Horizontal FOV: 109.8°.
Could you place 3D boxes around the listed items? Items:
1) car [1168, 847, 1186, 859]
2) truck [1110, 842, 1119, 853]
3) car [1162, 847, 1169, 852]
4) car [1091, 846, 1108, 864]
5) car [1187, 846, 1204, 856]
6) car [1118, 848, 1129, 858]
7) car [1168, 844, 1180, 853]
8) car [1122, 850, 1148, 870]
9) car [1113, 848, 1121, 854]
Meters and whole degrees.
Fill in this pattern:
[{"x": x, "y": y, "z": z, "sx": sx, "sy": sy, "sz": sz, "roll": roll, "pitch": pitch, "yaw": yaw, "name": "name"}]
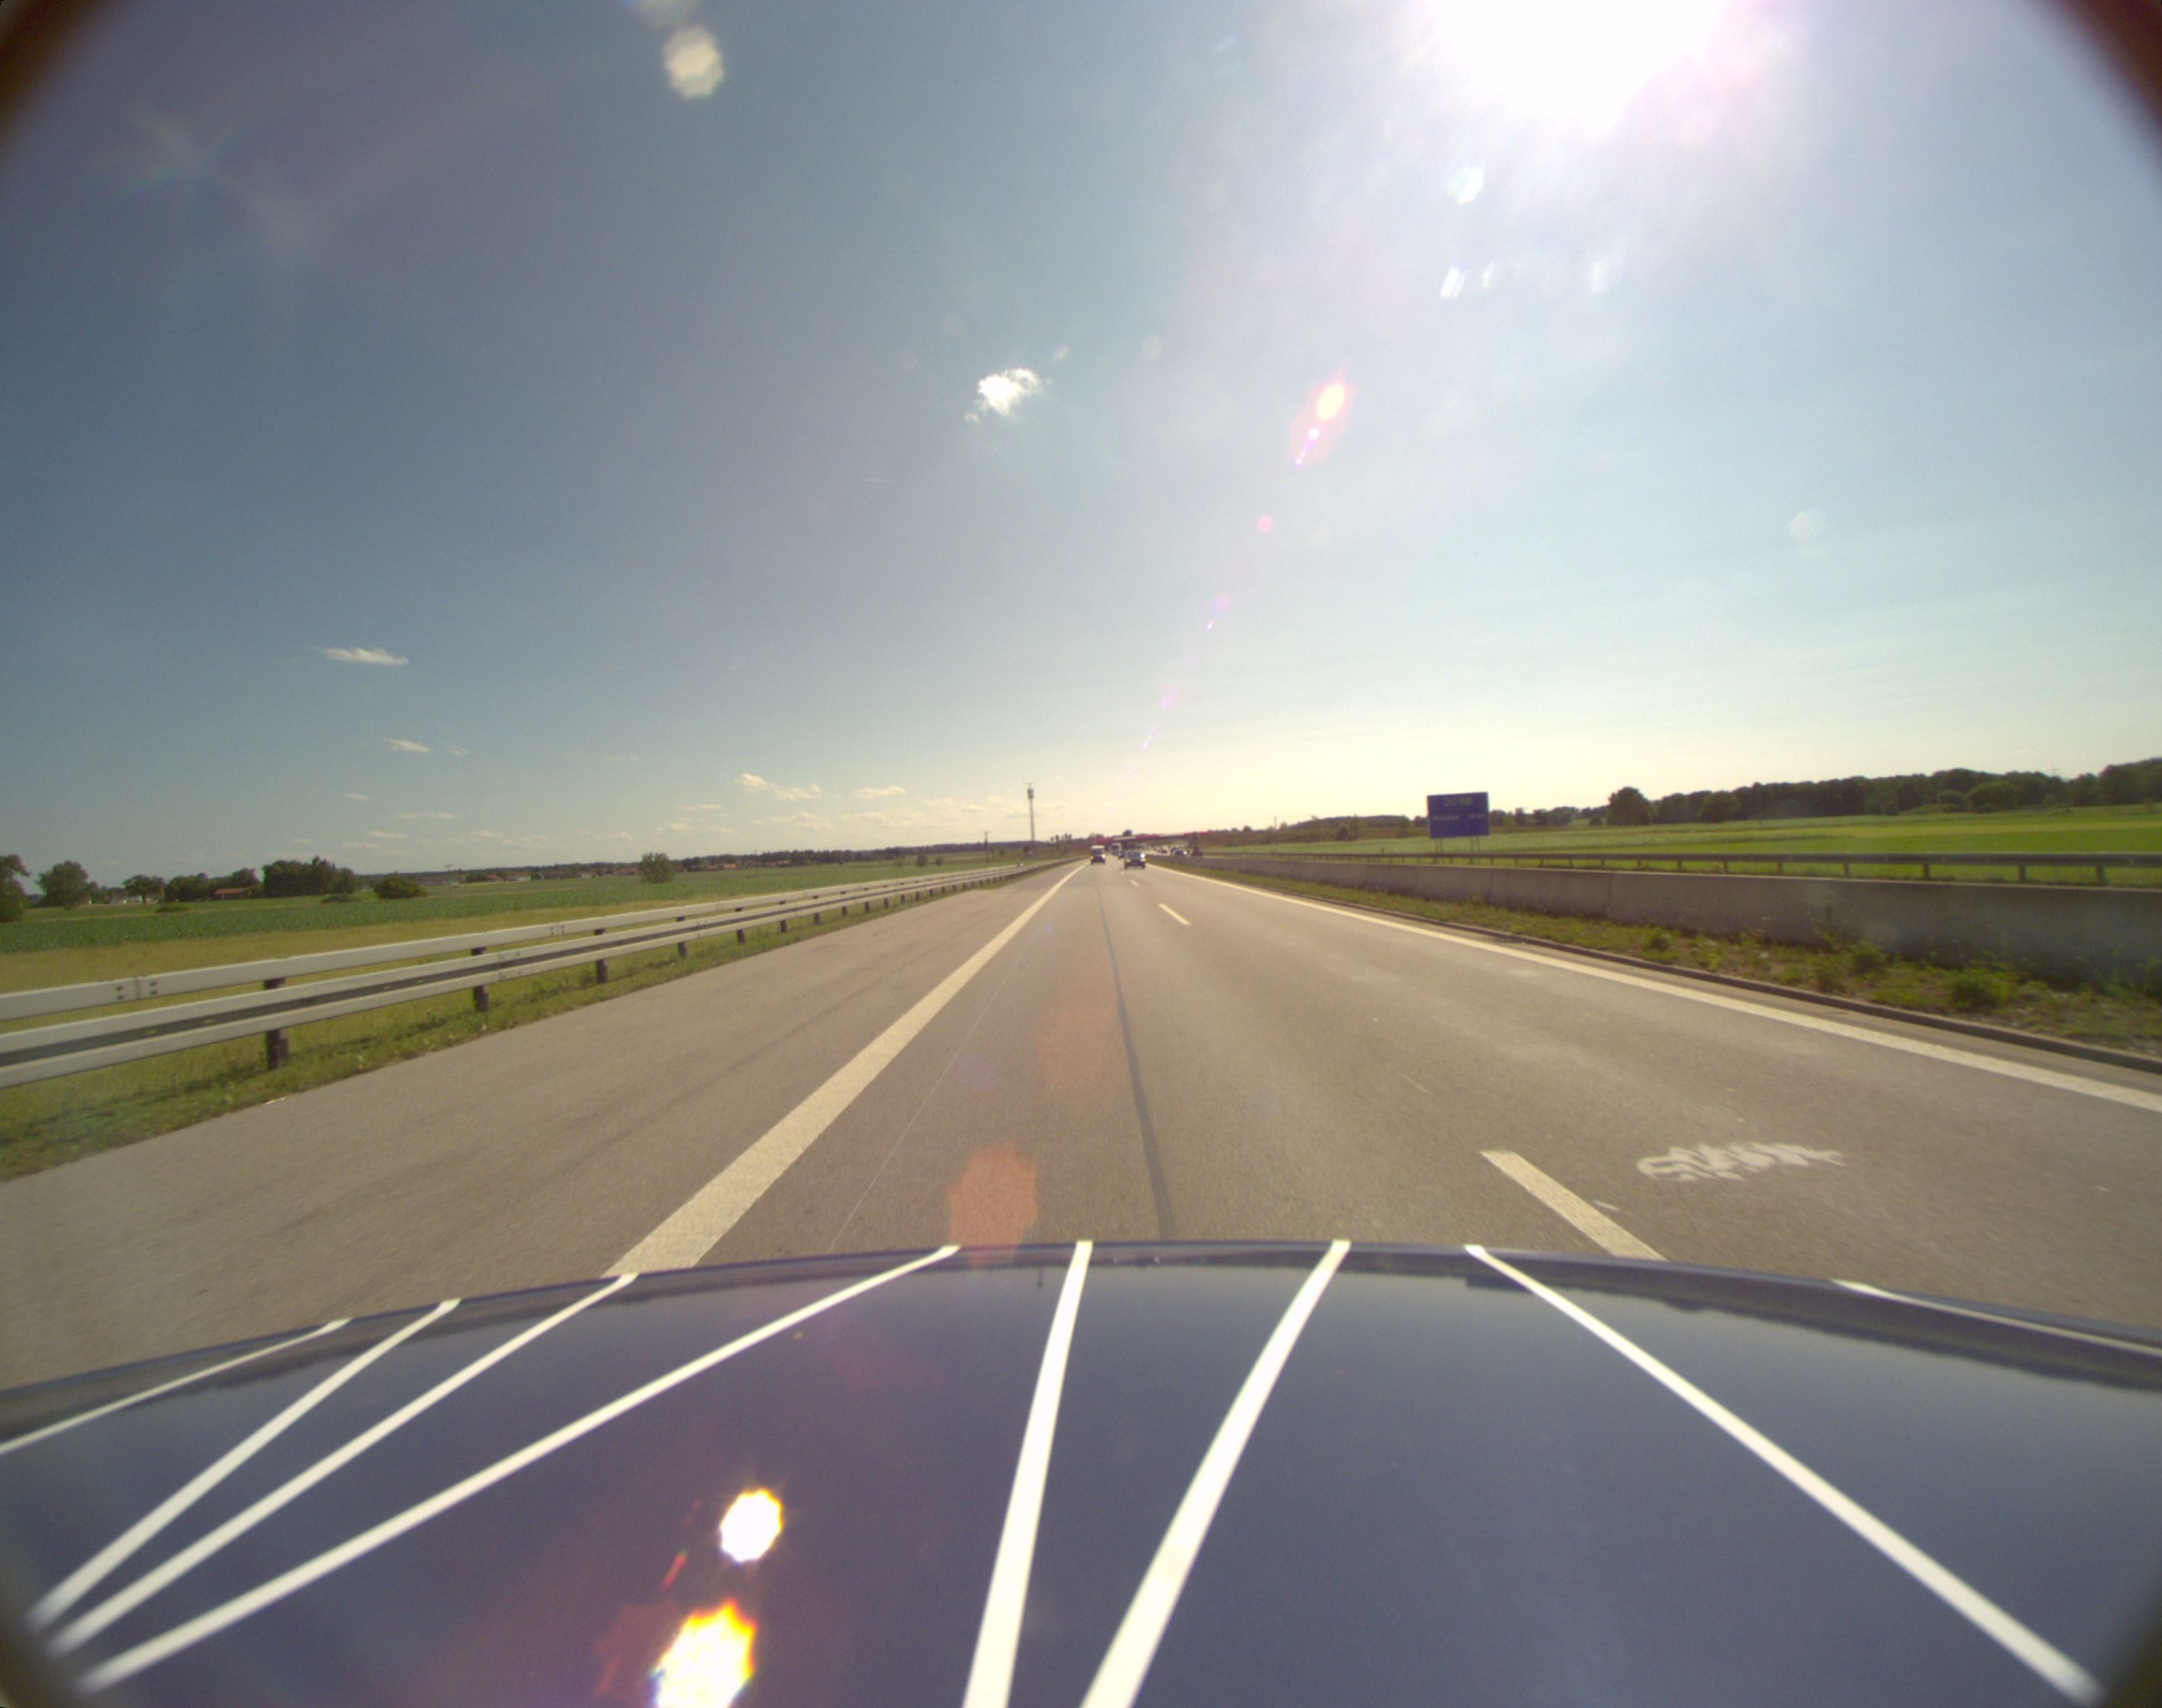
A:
[{"x": 12.762, "y": -0.133, "z": 101.018, "sx": 1.902, "sy": 1.514, "sz": 4.806, "roll": -1, "pitch": 0, "yaw": 1, "name": "car"}, {"x": 11.527, "y": -2.282, "z": 259.865, "sx": 2.762, "sy": 3.793, "sz": 7.518, "roll": -3, "pitch": 1, "yaw": 4, "name": "truck"}, {"x": 25.646, "y": -1.372, "z": 230.788, "sx": 1.863, "sy": 1.575, "sz": 4.915, "roll": -1, "pitch": 0, "yaw": 2, "name": "car"}, {"x": 2.448, "y": 0.065, "z": 99.841, "sx": 2.030, "sy": 2.225, "sz": 4.818, "roll": -2, "pitch": 1, "yaw": 2, "name": "car"}, {"x": 17.661, "y": -0.457, "z": 117.103, "sx": 1.902, "sy": 1.514, "sz": 4.806, "roll": -1, "pitch": 0, "yaw": 1, "name": "car"}, {"x": 8.133, "y": -0.217, "z": 145.200, "sx": 2.030, "sy": 1.600, "sz": 4.819, "roll": -4, "pitch": 0, "yaw": 2, "name": "car"}, {"x": 19.553, "y": -1.086, "z": 160.308, "sx": 1.959, "sy": 1.831, "sz": 5.449, "roll": -1, "pitch": 0, "yaw": 1, "name": "car"}, {"x": 4.818, "y": 0.516, "z": 68.852, "sx": 2.030, "sy": 1.600, "sz": 4.818, "roll": -3, "pitch": 1, "yaw": 1, "name": "car"}, {"x": 10.507, "y": -0.800, "z": 223.760, "sx": 2.030, "sy": 1.600, "sz": 4.818, "roll": -4, "pitch": 1, "yaw": 2, "name": "car"}]
